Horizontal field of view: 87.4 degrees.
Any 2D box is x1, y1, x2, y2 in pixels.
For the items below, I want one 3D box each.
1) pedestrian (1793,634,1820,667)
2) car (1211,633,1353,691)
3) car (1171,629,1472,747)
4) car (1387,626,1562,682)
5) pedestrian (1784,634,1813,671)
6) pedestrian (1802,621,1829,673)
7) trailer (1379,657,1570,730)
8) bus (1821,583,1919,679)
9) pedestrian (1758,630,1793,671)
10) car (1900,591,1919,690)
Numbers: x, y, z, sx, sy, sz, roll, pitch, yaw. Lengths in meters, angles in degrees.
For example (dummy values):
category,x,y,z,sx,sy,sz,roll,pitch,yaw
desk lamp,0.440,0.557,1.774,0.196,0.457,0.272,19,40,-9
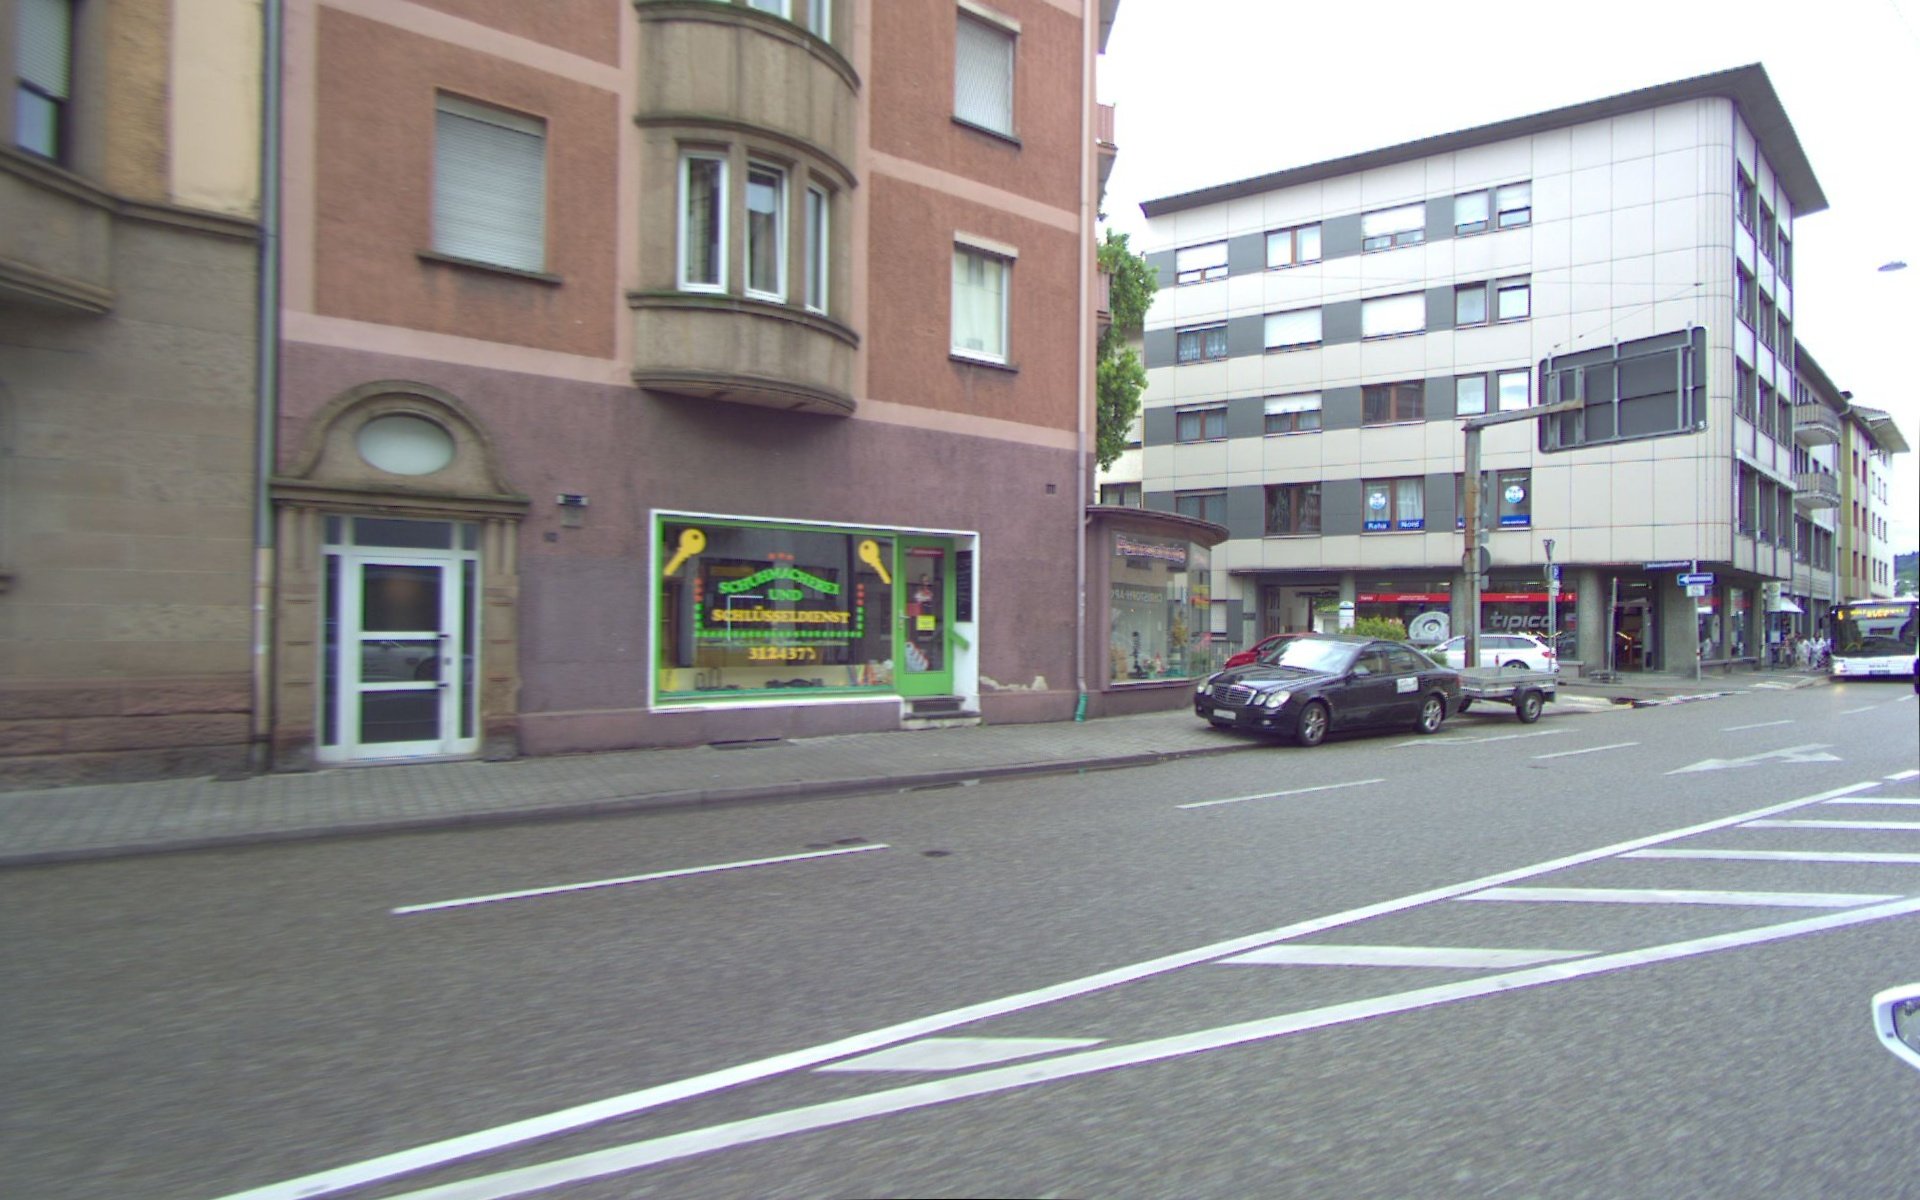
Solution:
category,x,y,z,sx,sy,sz,roll,pitch,yaw
pedestrian,36.558,2.180,43.397,0.748,1.422,0.769,2,-3,-40
car,9.036,1.698,28.268,3.469,1.502,1.688,-1,-3,36
car,5.520,1.224,15.089,4.745,1.416,1.838,2,1,-35
car,15.424,1.591,30.294,4.558,1.553,1.904,0,-2,28
pedestrian,33.117,2.076,39.676,0.780,1.414,0.762,2,-3,-40
pedestrian,33.994,1.867,39.913,0.770,2.040,0.673,2,-3,-40
trailer,8.838,1.548,17.222,3.023,0.962,1.578,2,3,-33
bus,34.498,1.226,37.428,8.850,3.230,2.733,3,-3,-43
pedestrian,32.488,2.000,40.025,0.828,1.610,0.937,2,-3,-40
car,26.760,1.098,26.401,6.298,2.467,2.070,3,-3,-38
